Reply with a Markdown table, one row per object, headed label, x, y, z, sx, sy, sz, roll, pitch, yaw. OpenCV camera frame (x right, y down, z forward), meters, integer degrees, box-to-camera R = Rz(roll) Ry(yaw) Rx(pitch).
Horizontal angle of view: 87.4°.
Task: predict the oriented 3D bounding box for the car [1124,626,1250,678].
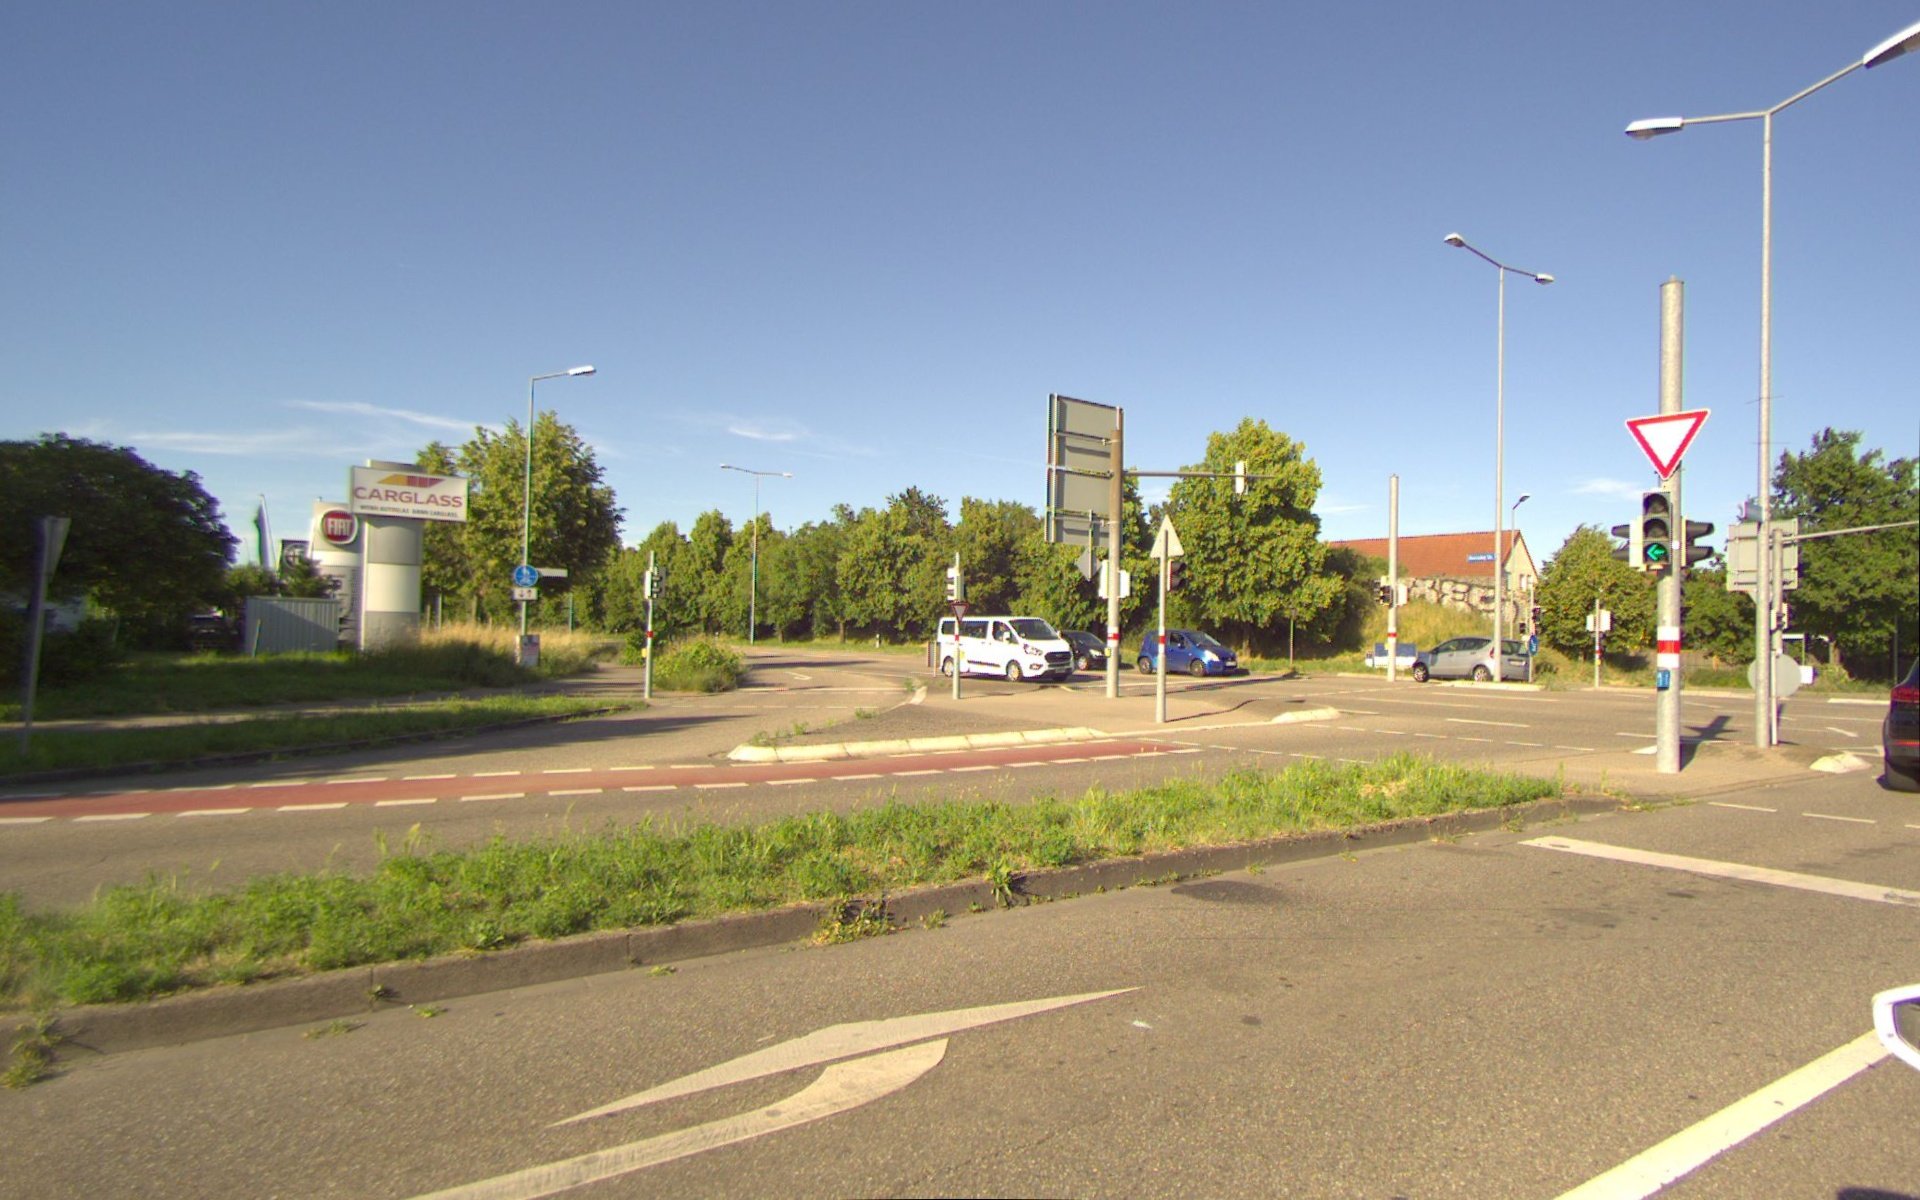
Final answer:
| label | x | y | z | sx | sy | sz | roll | pitch | yaw |
| --- | --- | --- | --- | --- | --- | --- | --- | --- | --- |
| car | 7.721 | 1.732 | 34.449 | 1.875 | 1.666 | 3.999 | 1 | -1 | -36 |

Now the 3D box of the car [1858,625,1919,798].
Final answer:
| label | x | y | z | sx | sy | sz | roll | pitch | yaw |
| --- | --- | --- | --- | --- | --- | --- | --- | --- | --- |
| car | 11.097 | 1.128 | 10.362 | 3.958 | 1.649 | 1.816 | 2 | -2 | -34 |

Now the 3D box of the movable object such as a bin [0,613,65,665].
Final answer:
| label | x | y | z | sx | sy | sz | roll | pitch | yaw |
| --- | --- | --- | --- | --- | --- | --- | --- | --- | --- |
| movable object such as a bin | -24.375 | 1.023 | 26.423 | 0.981 | 1.315 | 1.122 | 2 | -2 | -31 |

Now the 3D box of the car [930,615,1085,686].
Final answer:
| label | x | y | z | sx | sy | sz | roll | pitch | yaw |
| --- | --- | --- | --- | --- | --- | --- | --- | --- | --- |
| car | 1.355 | 1.496 | 31.304 | 2.028 | 2.040 | 5.222 | 0 | -1 | -36 |

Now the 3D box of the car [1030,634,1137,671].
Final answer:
| label | x | y | z | sx | sy | sz | roll | pitch | yaw |
| --- | --- | --- | --- | --- | --- | --- | --- | --- | --- |
| car | 4.682 | 1.994 | 38.604 | 1.875 | 1.291 | 3.999 | 1 | -1 | -36 |

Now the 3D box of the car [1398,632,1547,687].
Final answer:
| label | x | y | z | sx | sy | sz | roll | pitch | yaw |
| --- | --- | --- | --- | --- | --- | --- | --- | --- | --- |
| car | 16.899 | 1.920 | 33.377 | 2.013 | 1.637 | 4.406 | 0 | -1 | -14 |

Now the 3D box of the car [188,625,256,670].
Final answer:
| label | x | y | z | sx | sy | sz | roll | pitch | yaw |
| --- | --- | --- | --- | --- | --- | --- | --- | --- | --- |
| car | -32.224 | 2.053 | 43.957 | 1.977 | 1.751 | 3.966 | 2 | 0 | -31 |

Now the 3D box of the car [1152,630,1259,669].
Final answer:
| label | x | y | z | sx | sy | sz | roll | pitch | yaw |
| --- | --- | --- | --- | --- | --- | --- | --- | --- | --- |
| car | 10.907 | 2.181 | 44.844 | 2.028 | 1.637 | 4.374 | 2 | -2 | -36 |
